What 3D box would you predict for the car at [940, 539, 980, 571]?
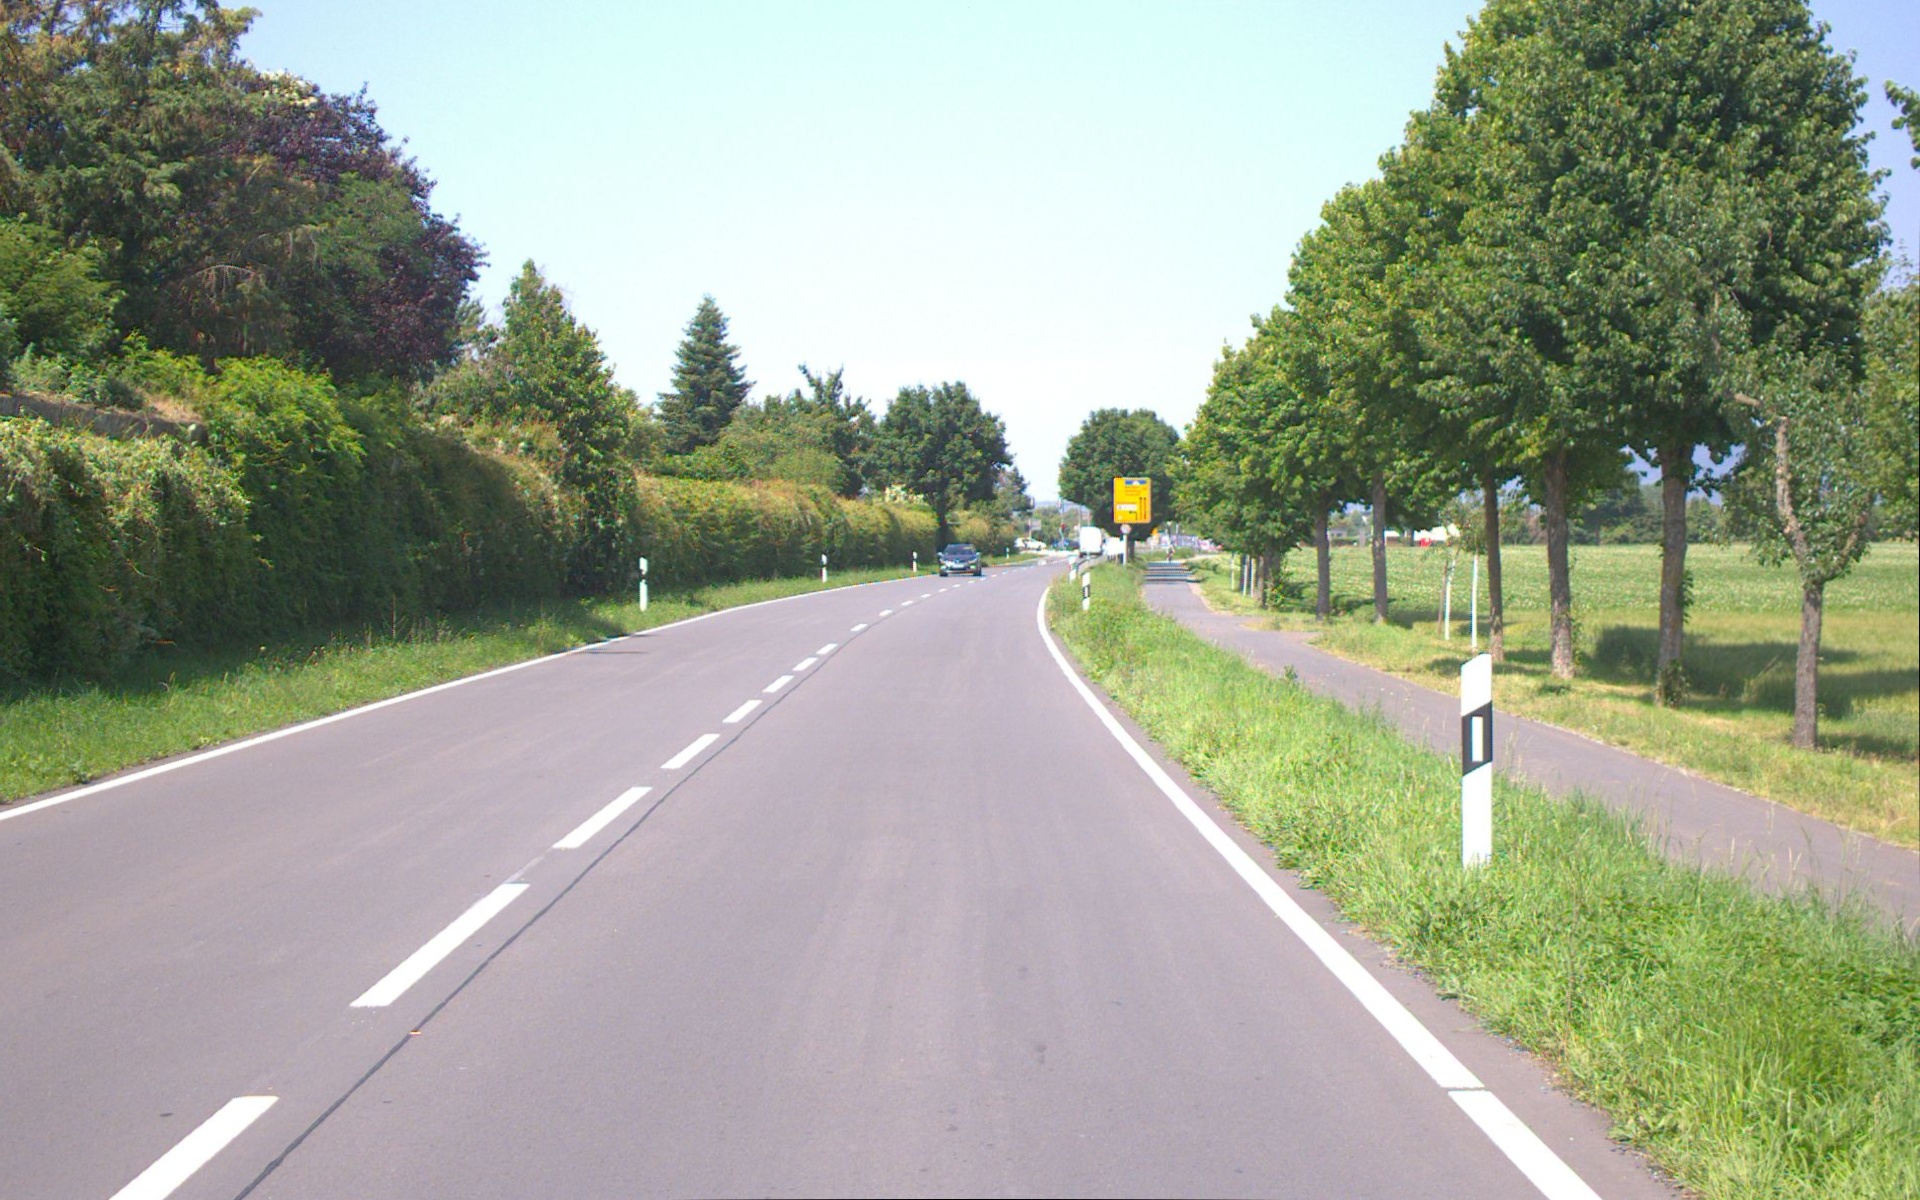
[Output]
[{"bbox_3d":[-0.005,-2.069,157.074,1.840,1.462,3.933,0,1,0],"label":"car"}]
